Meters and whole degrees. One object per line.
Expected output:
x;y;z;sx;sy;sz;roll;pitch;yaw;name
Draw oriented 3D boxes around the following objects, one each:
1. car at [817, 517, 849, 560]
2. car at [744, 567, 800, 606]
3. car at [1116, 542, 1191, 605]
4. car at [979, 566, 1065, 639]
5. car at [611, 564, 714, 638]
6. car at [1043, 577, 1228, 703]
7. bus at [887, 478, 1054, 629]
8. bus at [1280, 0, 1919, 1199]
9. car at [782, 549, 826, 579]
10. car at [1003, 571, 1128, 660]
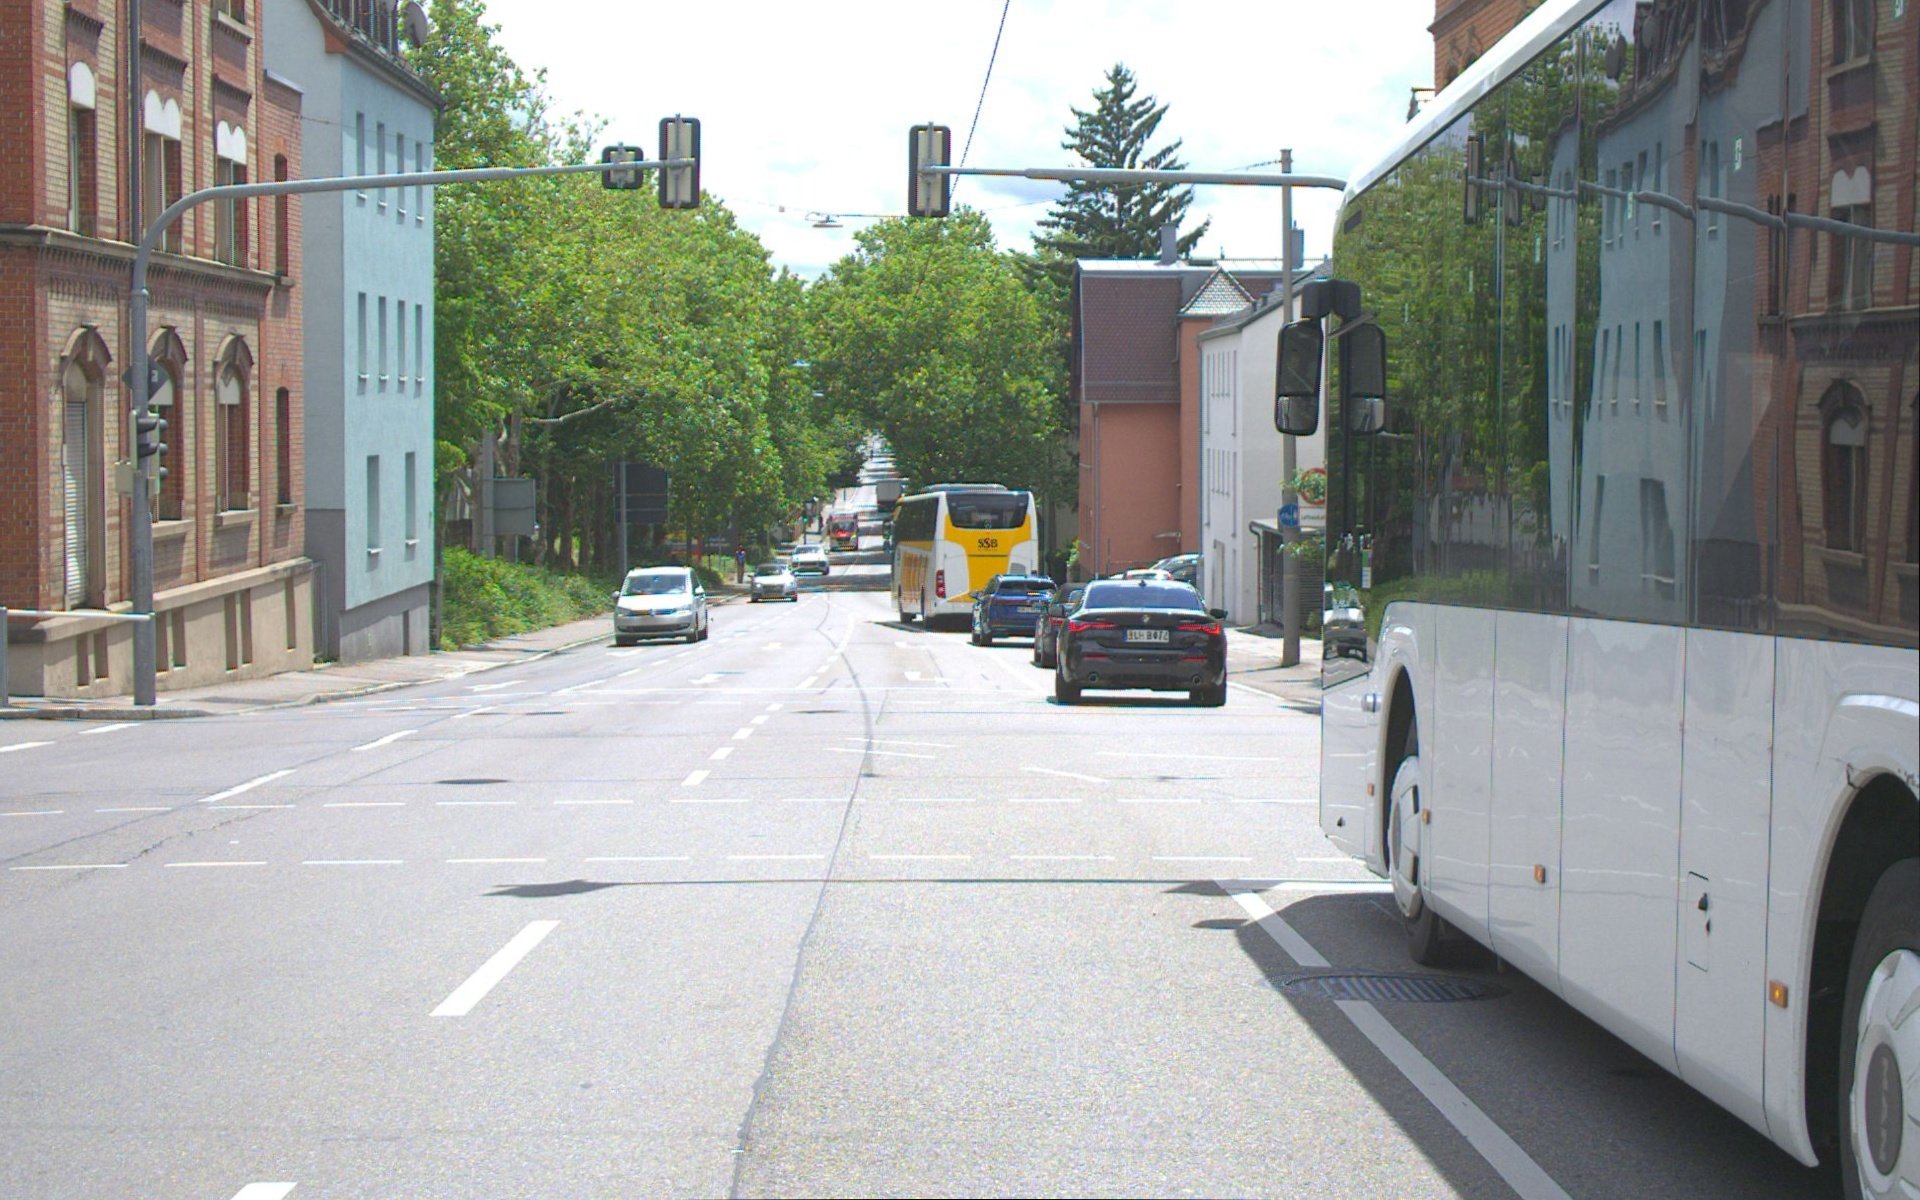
-9.344;-4.537;253.611;2.141;3.059;5.626;1;1;0;car
-6.904;-0.516;126.752;1.865;1.363;4.547;-1;1;-1;car
5.229;-0.742;93.306;1.767;1.660;4.000;-1;1;-1;car
1.217;0.033;68.832;1.608;1.371;4.000;0;1;-1;car
-6.588;-0.005;76.512;1.935;1.558;4.389;-1;1;-1;car
1.898;0.412;38.311;1.797;1.271;4.000;-1;1;-1;car
0.135;-1.219;89.026;3.300;3.618;11.246;-1;1;-5;bus
2.993;-0.291;9.253;2.904;3.498;12.488;1;1;-1;bus
-8.449;-1.976;186.445;2.207;1.607;4.547;-1;1;-1;car
1.712;0.232;57.080;1.865;1.363;4.547;-1;1;-1;car
